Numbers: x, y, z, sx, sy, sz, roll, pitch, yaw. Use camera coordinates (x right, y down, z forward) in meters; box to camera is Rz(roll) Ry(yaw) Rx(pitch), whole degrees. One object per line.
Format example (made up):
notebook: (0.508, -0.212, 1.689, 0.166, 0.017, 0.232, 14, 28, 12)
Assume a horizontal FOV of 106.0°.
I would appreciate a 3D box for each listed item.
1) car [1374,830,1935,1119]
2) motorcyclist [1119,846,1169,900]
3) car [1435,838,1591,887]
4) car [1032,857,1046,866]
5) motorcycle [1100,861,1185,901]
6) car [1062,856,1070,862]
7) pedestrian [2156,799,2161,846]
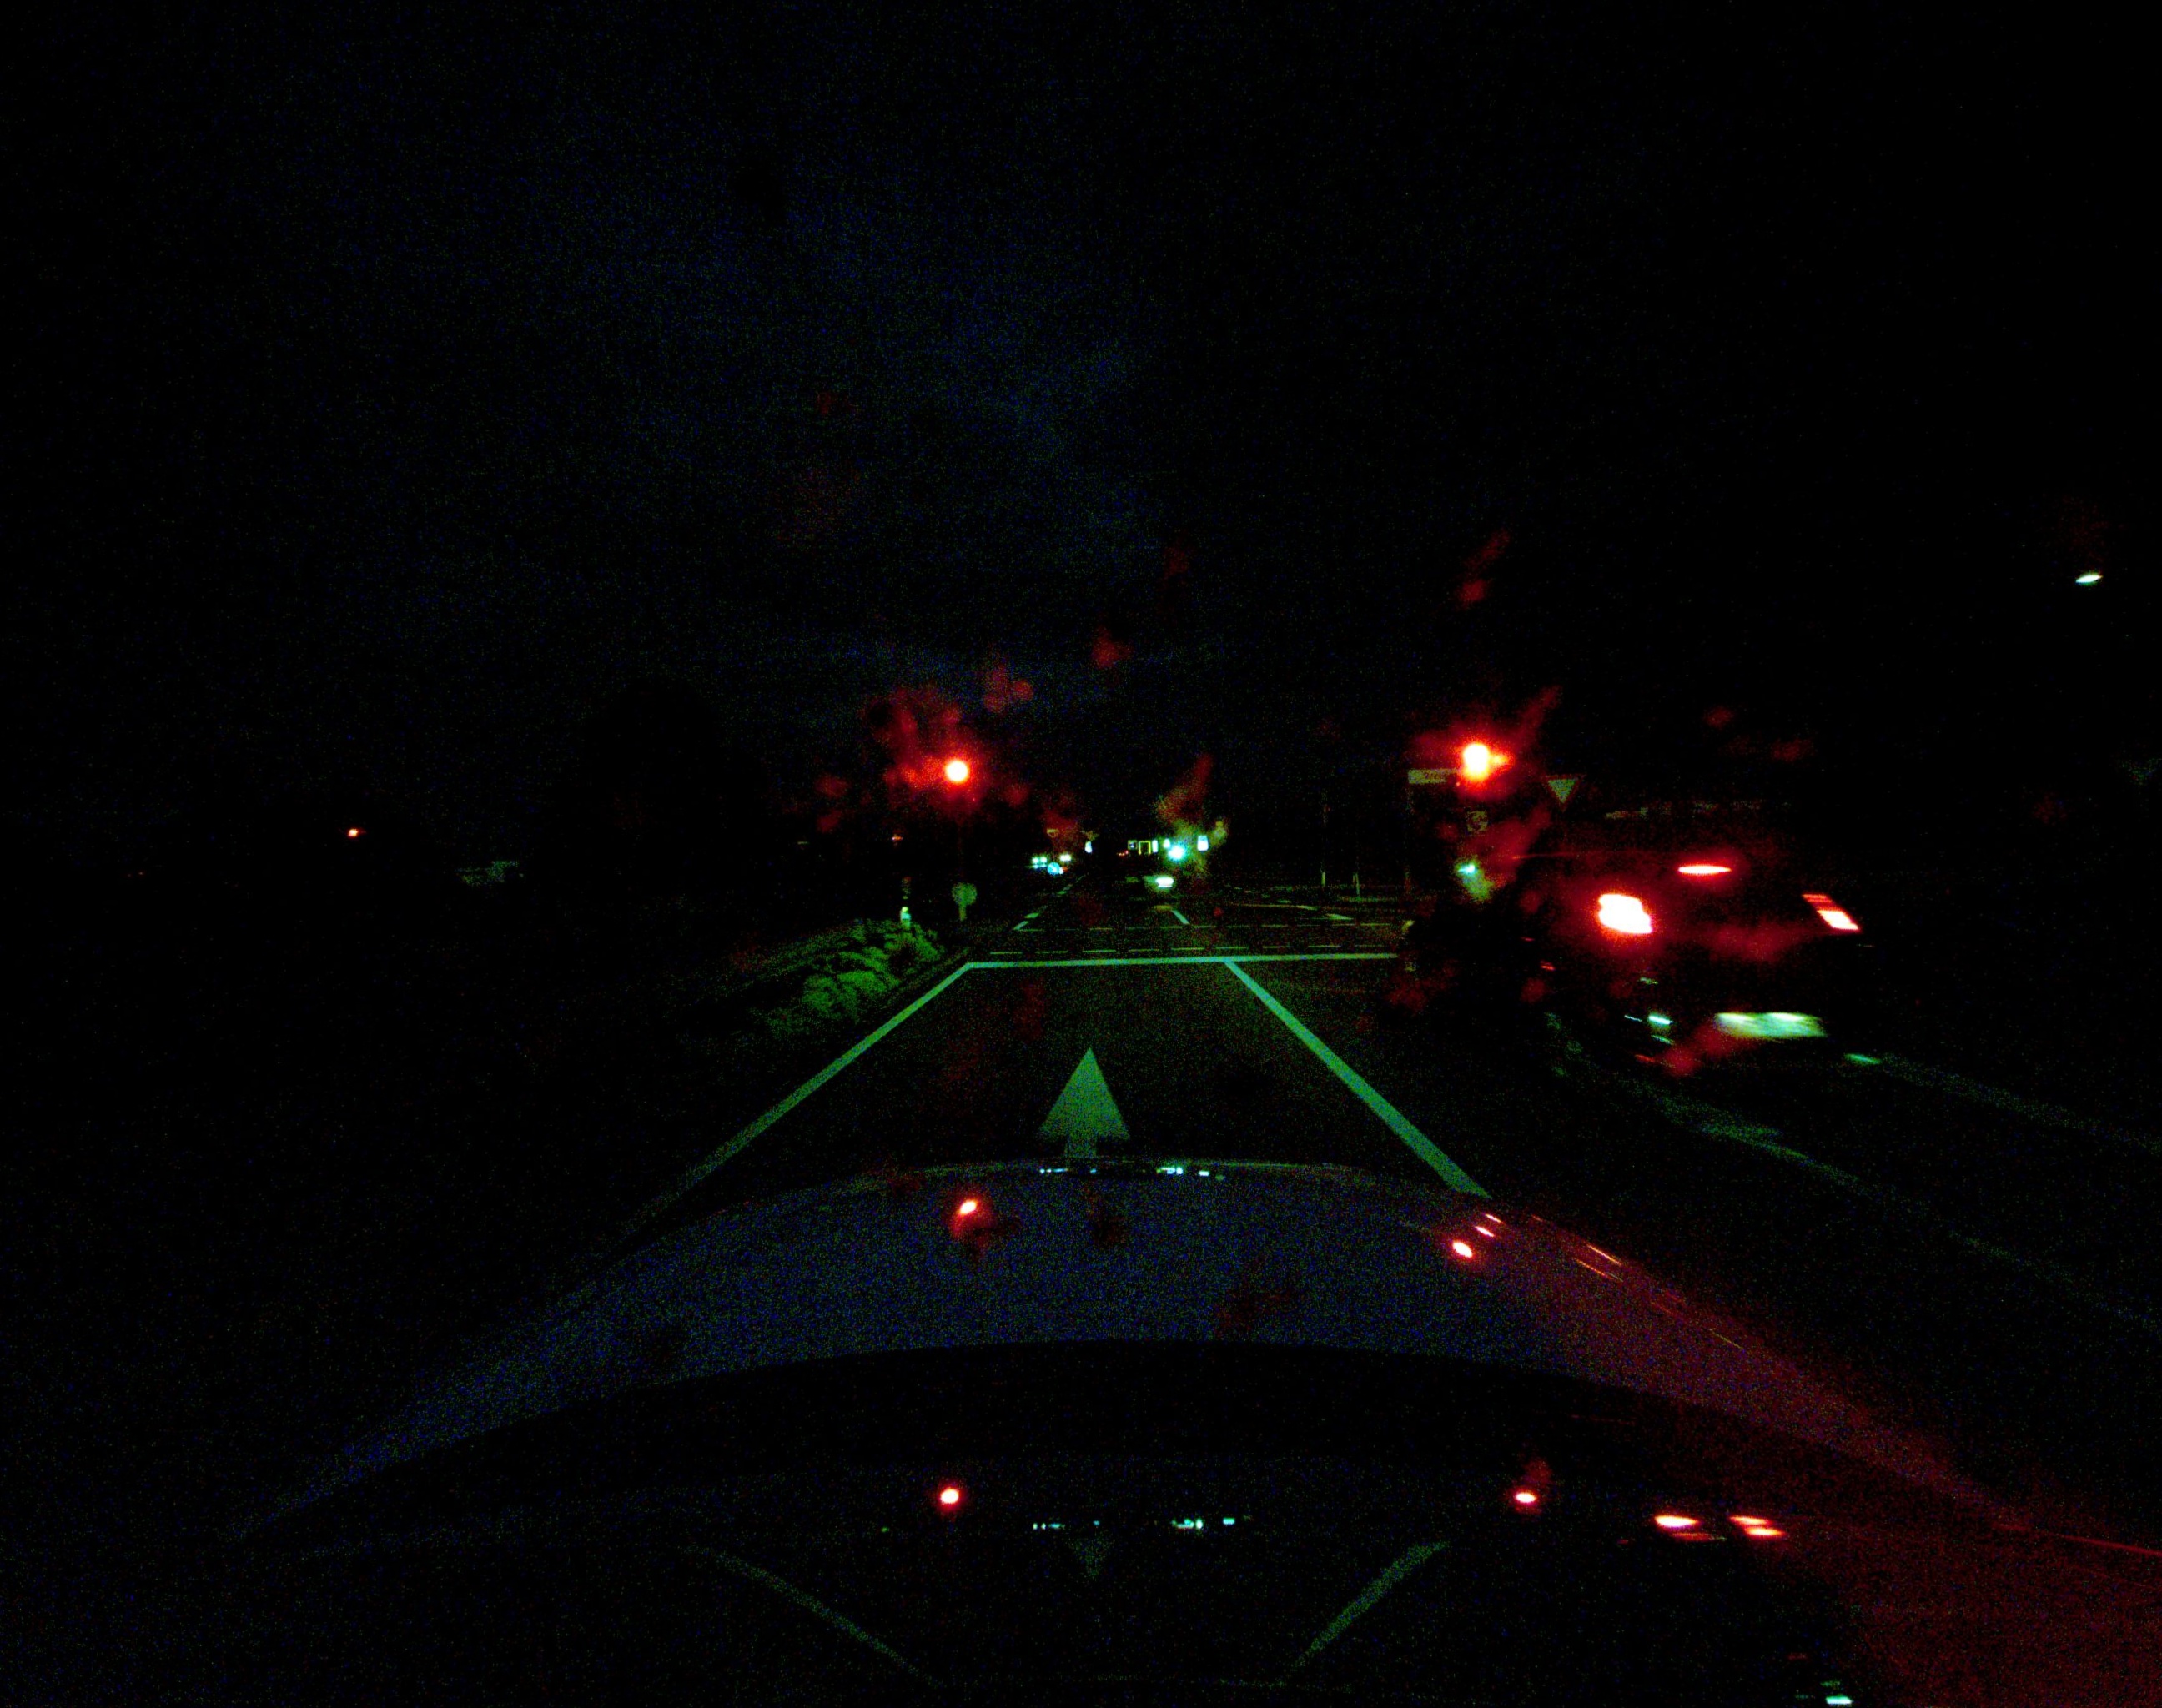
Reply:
car: (3.774, 0.648, 6.378, 1.663, 1.520, 4.109, -1, 0, 3)
motorcyclist: (1.932, 0.574, 24.850, 0.960, 1.584, 1.148, -2, 0, 41)
car: (15.622, 0.296, 29.638, 4.583, 1.520, 2.001, -3, 0, 2)
car: (-7.426, 1.268, 144.561, 1.986, 1.519, 4.299, -2, 0, 2)
motorcycle: (1.855, 0.824, 24.844, 2.476, 1.098, 0.988, -2, 0, 43)
car: (-4.046, 1.383, 223.029, 1.986, 1.387, 4.002, -2, 0, 2)
pedestrian: (28.891, -0.560, 21.171, 0.732, 1.835, 0.870, -3, -3, -25)
